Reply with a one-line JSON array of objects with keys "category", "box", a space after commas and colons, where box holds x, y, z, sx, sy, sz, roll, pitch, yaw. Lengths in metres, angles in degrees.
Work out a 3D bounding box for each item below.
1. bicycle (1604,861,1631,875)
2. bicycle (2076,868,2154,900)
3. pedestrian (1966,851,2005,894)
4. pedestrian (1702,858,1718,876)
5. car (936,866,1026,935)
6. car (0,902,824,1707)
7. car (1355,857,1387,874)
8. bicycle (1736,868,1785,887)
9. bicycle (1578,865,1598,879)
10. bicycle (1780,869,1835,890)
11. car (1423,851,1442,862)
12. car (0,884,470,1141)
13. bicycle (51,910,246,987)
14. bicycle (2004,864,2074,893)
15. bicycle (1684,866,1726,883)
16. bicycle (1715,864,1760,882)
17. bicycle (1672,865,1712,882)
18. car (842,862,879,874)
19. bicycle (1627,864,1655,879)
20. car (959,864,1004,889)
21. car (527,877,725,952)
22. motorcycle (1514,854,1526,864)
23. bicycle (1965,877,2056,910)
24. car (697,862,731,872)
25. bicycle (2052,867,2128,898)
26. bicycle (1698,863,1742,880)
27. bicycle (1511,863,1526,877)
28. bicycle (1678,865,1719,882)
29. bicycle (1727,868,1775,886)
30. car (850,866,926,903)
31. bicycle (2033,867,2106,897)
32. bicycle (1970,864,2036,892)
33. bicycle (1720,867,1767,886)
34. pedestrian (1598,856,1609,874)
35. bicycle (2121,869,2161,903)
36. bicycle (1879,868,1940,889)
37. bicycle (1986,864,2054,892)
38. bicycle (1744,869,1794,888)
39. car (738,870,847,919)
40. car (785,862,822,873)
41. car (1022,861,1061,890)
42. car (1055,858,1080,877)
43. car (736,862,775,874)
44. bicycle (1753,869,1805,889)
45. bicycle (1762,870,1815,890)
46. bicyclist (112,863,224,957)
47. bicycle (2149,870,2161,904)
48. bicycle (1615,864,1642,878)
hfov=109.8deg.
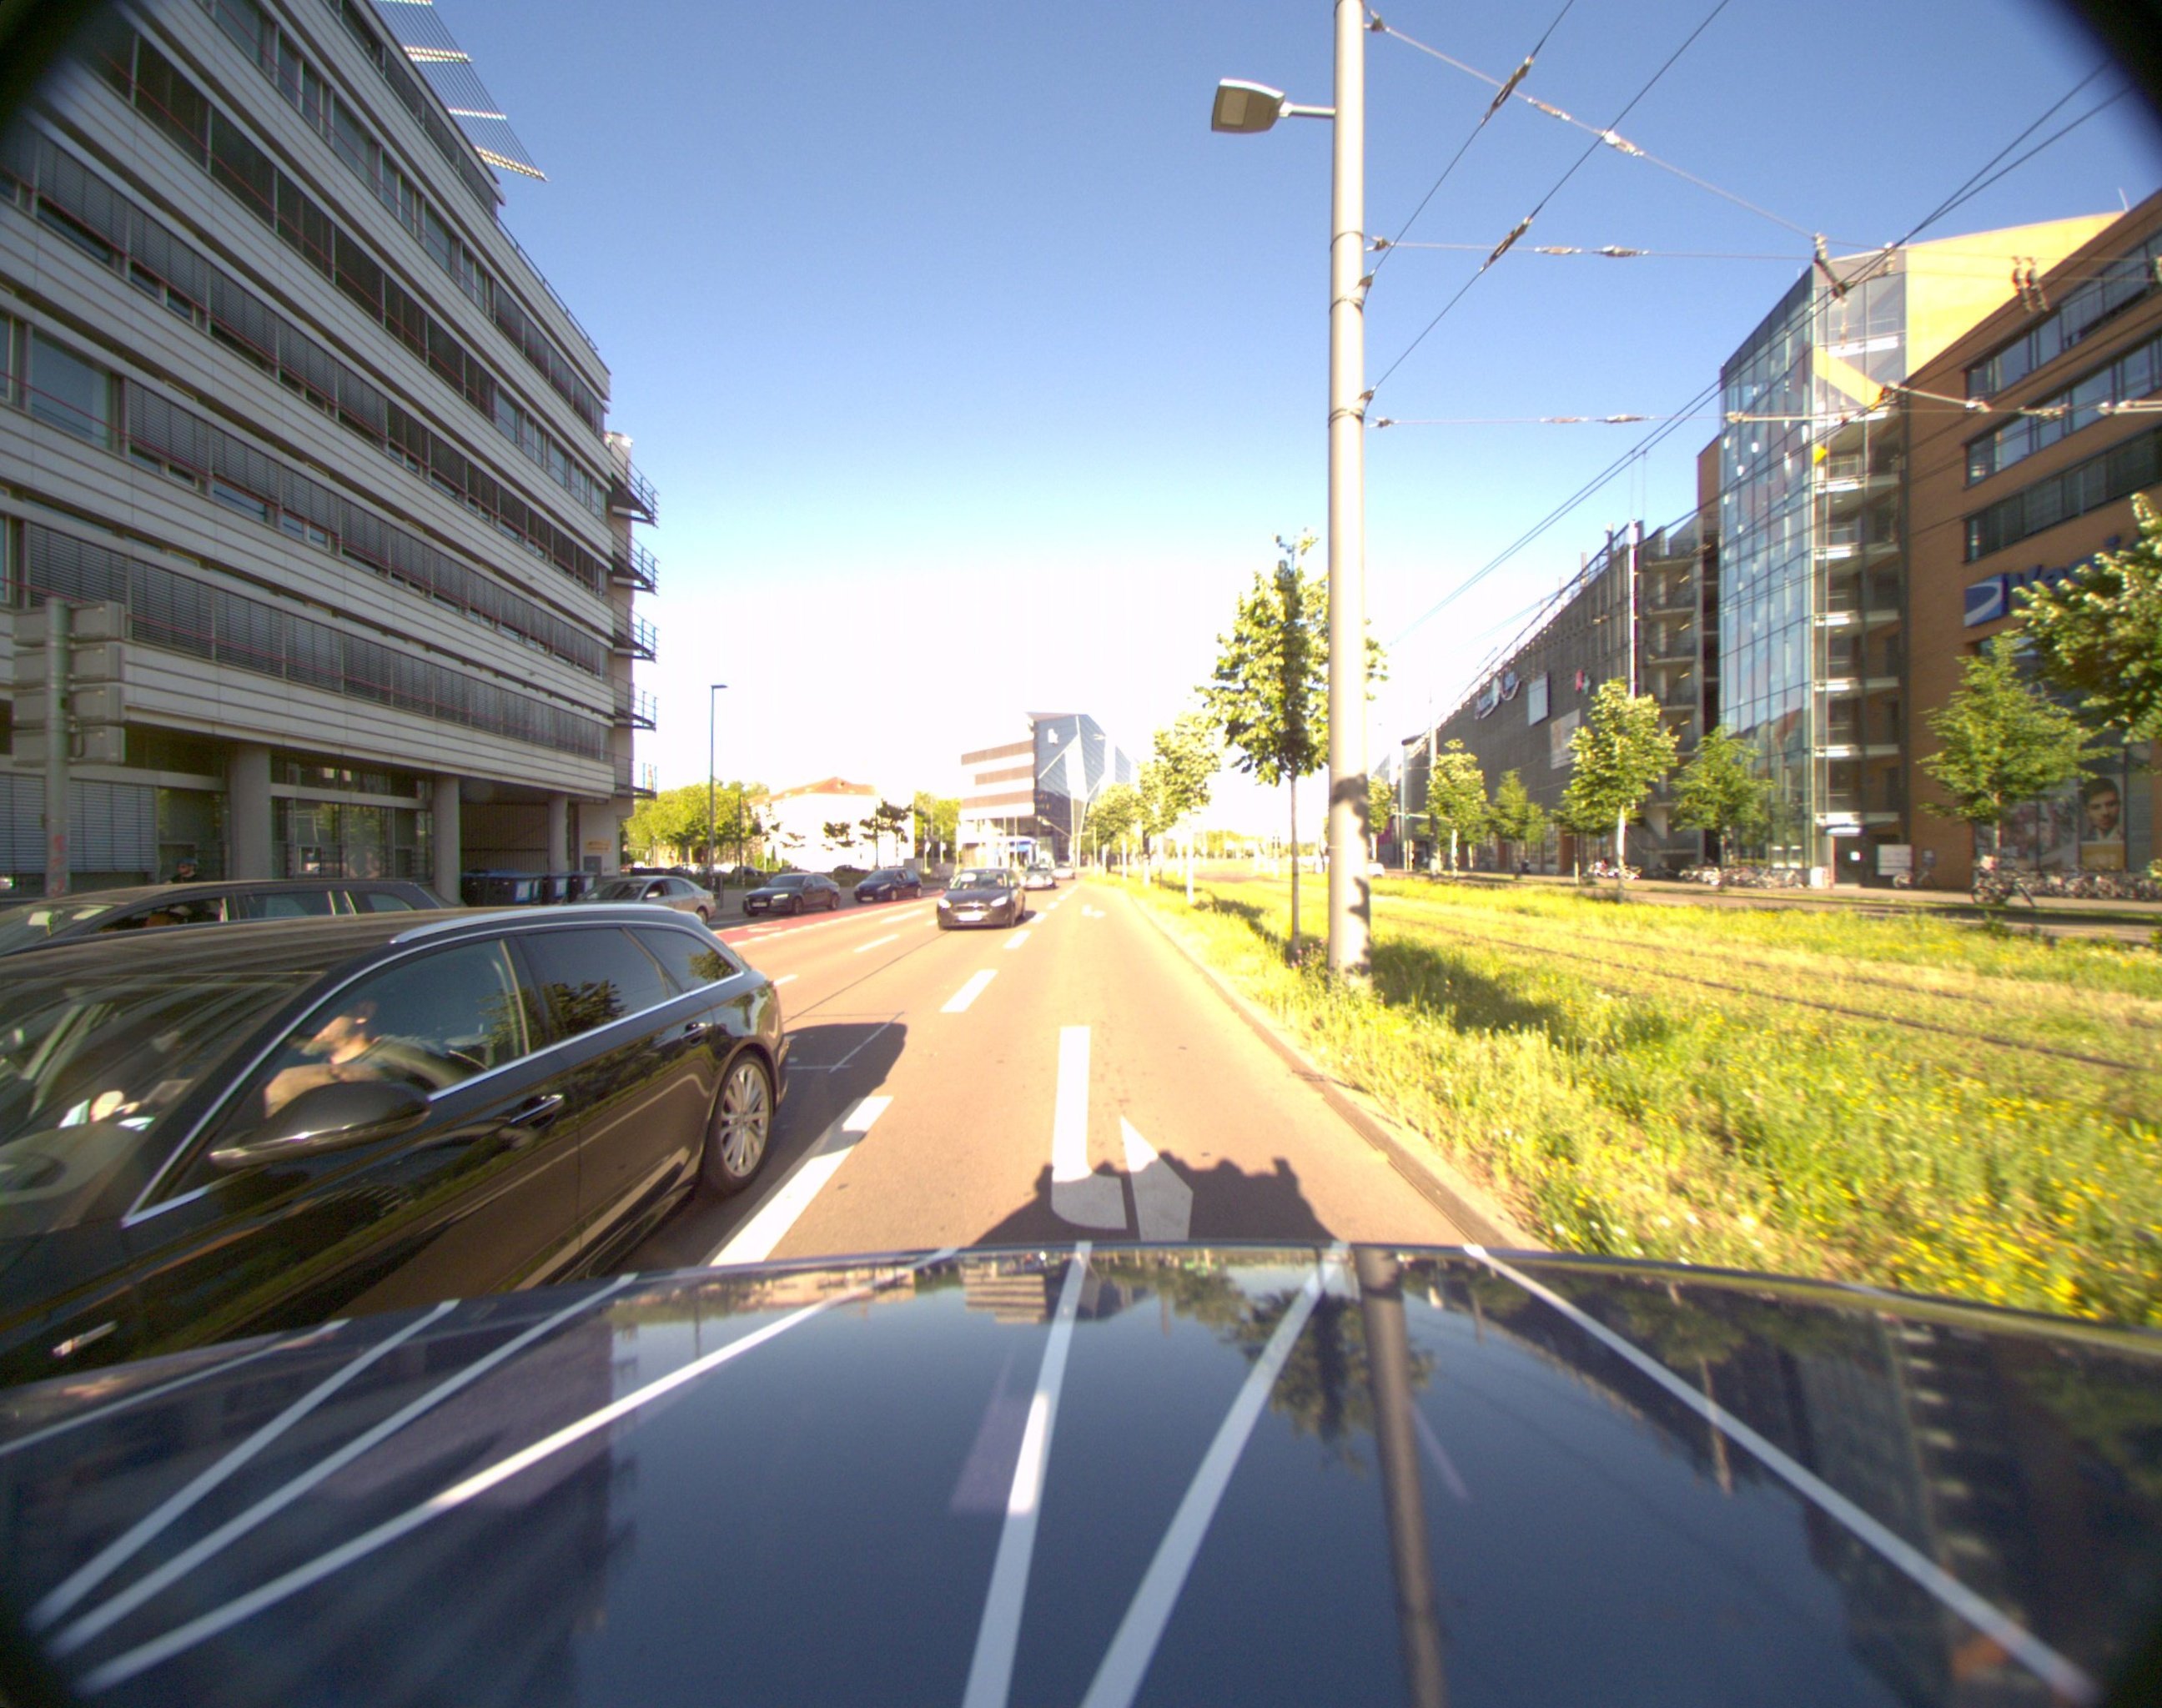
[{"category": "bicycle", "box": [36.359, 0.976, 51.472, 1.398, 0.921, 0.462, -1, 1, 15]}, {"category": "bicycle", "box": [34.822, 1.000, 25.604, 1.769, 1.043, 0.491, -1, 1, 6]}, {"category": "pedestrian", "box": [35.445, 0.718, 29.782, 0.746, 1.659, 0.676, -1, 0, 5]}, {"category": "pedestrian", "box": [39.122, 0.807, 47.250, 0.629, 1.048, 0.450, -1, 1, 12]}, {"category": "car", "box": [-2.389, 1.079, 19.100, 1.690, 1.425, 4.152, 0, 1, 0]}, {"category": "car", "box": [-2.491, 1.052, 1.914, 1.815, 1.483, 4.497, -3, 0, 4]}, {"category": "car", "box": [23.843, 0.955, 62.648, 1.809, 1.320, 4.409, 0, 0, 12]}, {"category": "bicycle", "box": [34.030, 1.181, 38.060, 1.768, 0.921, 0.565, -1, 0, 15]}, {"category": "bicycle", "box": [31.059, 1.098, 46.596, 0.386, 0.863, 1.773, -1, 0, 12]}, {"category": "bicycle", "box": [33.306, 1.165, 34.835, 1.768, 0.921, 0.565, -1, 0, 15]}, {"category": "car", "box": [50.868, 0.317, 110.097, 1.582, 1.521, 3.754, -2, 0, 11]}, {"category": "car", "box": [-8.023, 1.156, 6.352, 1.691, 1.619, 4.466, -1, 0, 11]}, {"category": "bicycle", "box": [-15.835, 1.563, 13.014, 0.500, 1.026, 2.207, -1, 0, 4]}, {"category": "bicycle", "box": [35.191, 0.905, 27.933, 1.769, 1.043, 0.491, -1, 1, 6]}, {"category": "bicycle", "box": [35.026, 1.133, 42.669, 1.768, 0.921, 0.565, -1, 0, 15]}, {"category": "bicycle", "box": [34.591, 1.009, 40.053, 1.768, 0.921, 0.491, -1, 1, 15]}, {"category": "bicycle", "box": [35.375, 1.135, 44.018, 1.768, 0.921, 0.491, -1, 1, 15]}, {"category": "car", "box": [-27.479, 1.791, 94.893, 3.991, 1.414, 2.003, -1, 0, 18]}, {"category": "bicycle", "box": [36.035, 1.109, 48.892, 1.398, 0.921, 0.462, -1, 1, 15]}, {"category": "car", "box": [-5.868, 1.309, 45.195, 1.437, 1.437, 4.004, 0, -1, 12]}, {"category": "car", "box": [-10.582, 1.331, 18.141, 1.754, 1.422, 4.490, -1, 0, 5]}, {"category": "motorcycle", "box": [40.161, 0.458, 69.543, 0.428, 0.914, 2.027, -1, 0, 15]}, {"category": "bicycle", "box": [27.128, 1.131, 22.220, 0.464, 0.863, 1.771, -1, 0, -1]}, {"category": "car", "box": [-49.112, 1.727, 101.768, 3.990, 1.237, 2.003, -1, 0, 24]}, {"category": "bicycle", "box": [34.960, 0.993, 26.340, 1.769, 1.043, 0.491, -1, 1, 6]}, {"category": "bicycle", "box": [34.859, 0.959, 41.461, 1.768, 0.921, 0.491, -1, 1, 15]}, {"category": "bicycle", "box": [29.833, 1.078, 51.844, 0.386, 0.918, 1.773, -1, 0, 12]}, {"category": "bicycle", "box": [35.195, 1.126, 43.332, 1.768, 0.921, 0.491, -1, 1, 15]}, {"category": "bicycle", "box": [34.181, 1.173, 38.759, 1.768, 0.921, 0.565, -1, 0, 15]}, {"category": "car", "box": [-8.747, 1.336, 34.825, 1.734, 1.437, 4.003, -2, 1, 12]}, {"category": "bicycle", "box": [35.086, 0.987, 26.989, 1.769, 1.043, 0.491, -1, 1, 6]}, {"category": "bicycle", "box": [35.272, 0.899, 29.082, 1.769, 1.043, 0.491, -1, 1, 6]}, {"category": "bicycle", "box": [34.373, 1.165, 39.463, 1.768, 0.921, 0.565, -1, 0, 15]}, {"category": "pedestrian", "box": [36.607, 0.775, 53.238, 0.448, 1.282, 0.630, -1, 1, 12]}, {"category": "bicycle", "box": [34.587, 1.012, 24.296, 1.769, 1.043, 0.491, -1, 1, 6]}, {"category": "bicycle", "box": [36.220, 1.065, 33.245, 1.768, 0.921, 0.565, -1, 0, 15]}, {"category": "bicycle", "box": [35.218, 0.902, 28.499, 1.769, 1.043, 0.491, -1, 1, 6]}, {"category": "bicycle", "box": [33.855, 1.188, 37.411, 1.768, 0.921, 0.565, -1, 0, 15]}, {"category": "car", "box": [-9.993, 1.352, 26.651, 1.713, 1.432, 4.114, -3, -1, 8]}, {"category": "car", "box": [-35.474, 1.712, 97.144, 3.991, 1.414, 2.003, -1, 0, 18]}, {"category": "car", "box": [-2.156, 1.193, 42.490, 1.749, 1.496, 3.881, -1, 0, 4]}, {"category": "car", "box": [-1.084, 1.103, 63.042, 1.619, 1.421, 3.769, -2, 0, 6]}, {"category": "car", "box": [-42.598, 1.850, 99.379, 4.516, 1.414, 2.003, -1, 0, 20]}, {"category": "bicycle", "box": [33.675, 1.197, 36.685, 1.768, 0.921, 0.565, -1, 0, 15]}, {"category": "bicycle", "box": [33.421, 1.208, 35.889, 1.768, 0.921, 0.565, -1, 0, 15]}, {"category": "bicyclist", "box": [-15.836, 0.945, 13.203, 0.626, 1.557, 1.044, -1, 0, 5]}, {"category": "bicycle", "box": [34.552, 1.015, 23.625, 1.769, 1.043, 0.491, -1, 1, 6]}, {"category": "bicycle", "box": [36.199, 1.099, 50.265, 1.398, 0.921, 0.462, -1, 1, 15]}]
